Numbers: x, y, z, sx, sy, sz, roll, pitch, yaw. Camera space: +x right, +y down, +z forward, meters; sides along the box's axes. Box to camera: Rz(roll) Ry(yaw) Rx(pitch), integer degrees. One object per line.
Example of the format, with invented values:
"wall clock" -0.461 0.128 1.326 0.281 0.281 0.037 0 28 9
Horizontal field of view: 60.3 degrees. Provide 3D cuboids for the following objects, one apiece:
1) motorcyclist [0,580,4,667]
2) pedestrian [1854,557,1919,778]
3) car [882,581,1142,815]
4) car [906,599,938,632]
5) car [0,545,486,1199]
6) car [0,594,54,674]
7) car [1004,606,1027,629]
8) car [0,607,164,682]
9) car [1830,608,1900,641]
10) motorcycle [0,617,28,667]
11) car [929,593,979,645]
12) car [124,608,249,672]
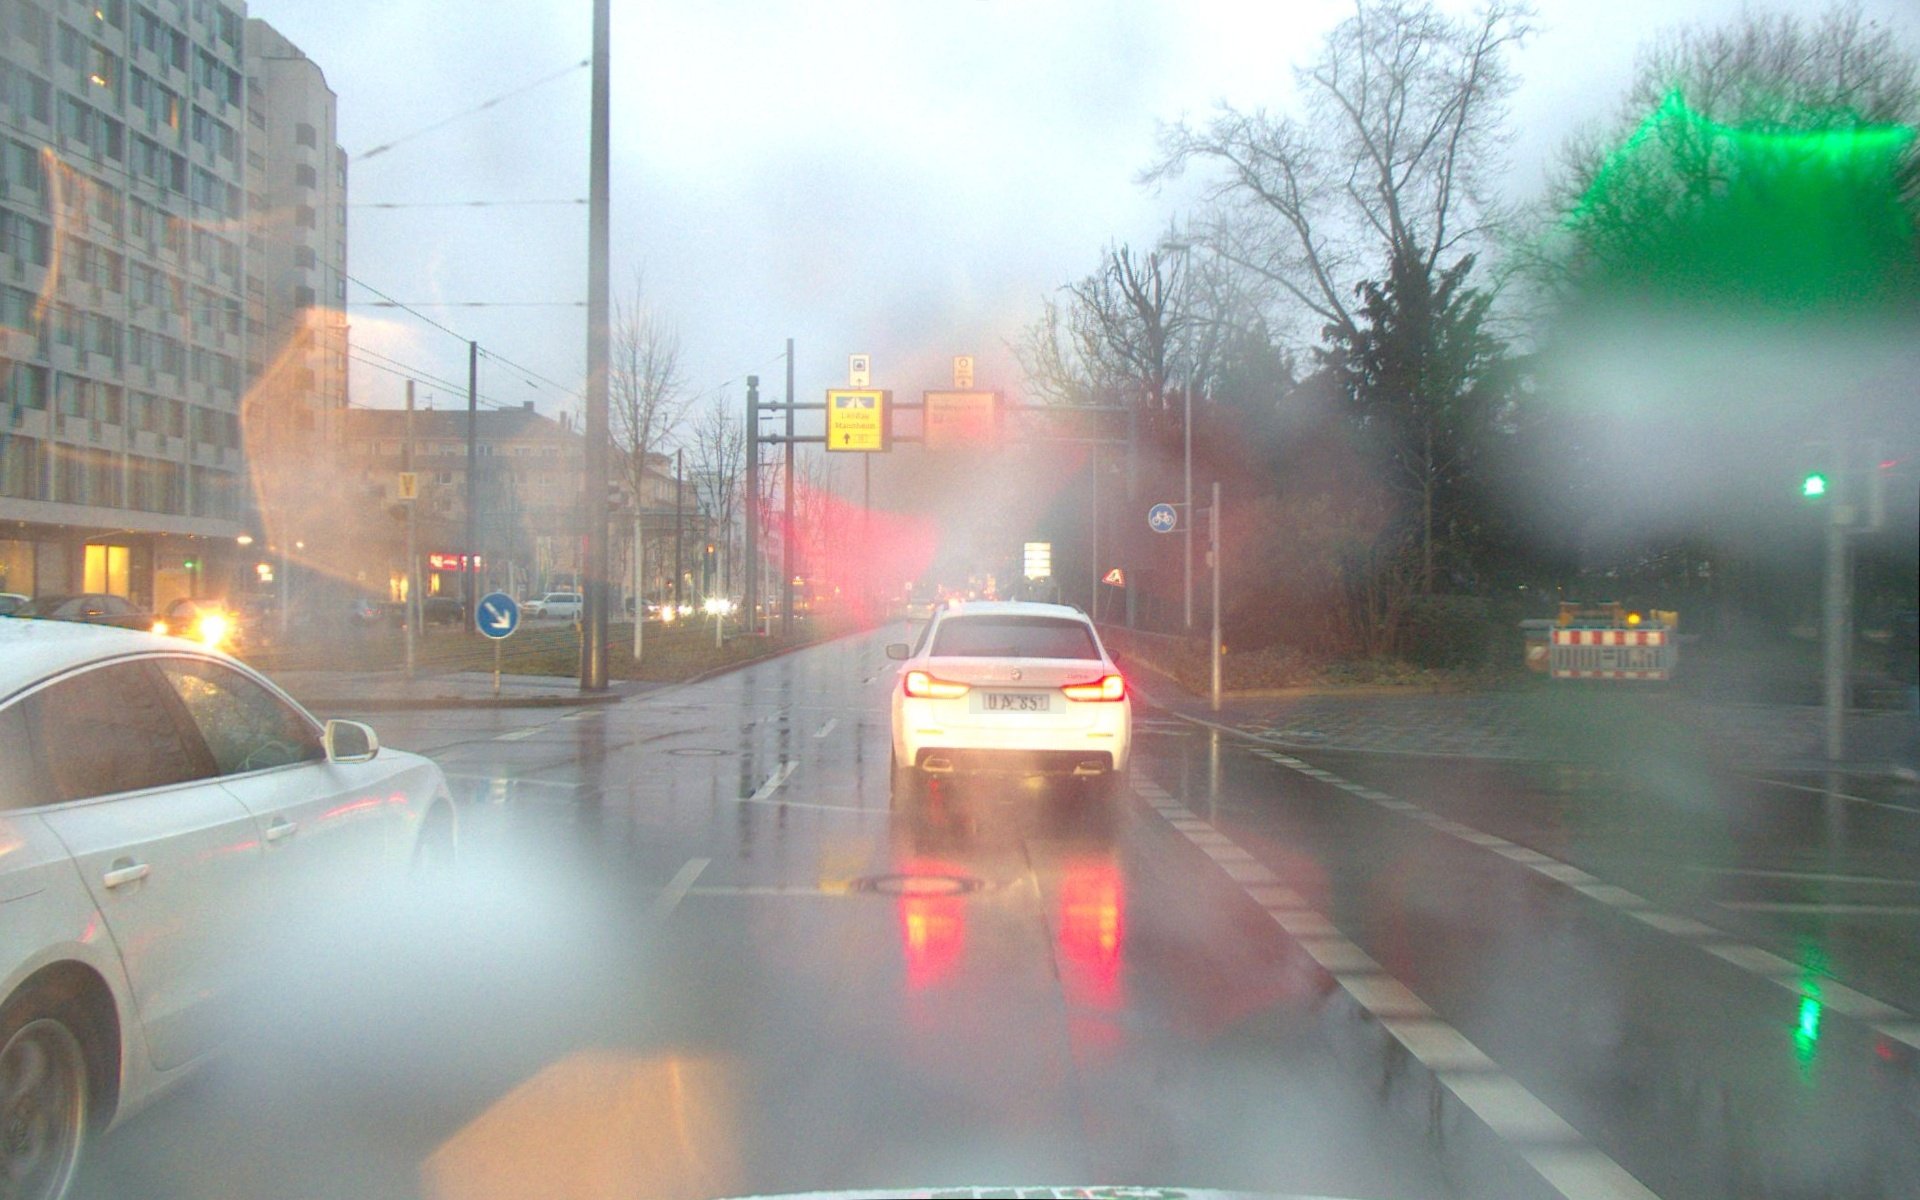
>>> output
"motorcyclist" -21.521 0.511 35.905 0.853 1.918 1.033 2 -1 0
"pedestrian" 8.522 0.592 14.731 0.704 1.912 0.670 2 -1 -25
"car" 0.268 0.689 13.610 1.725 1.580 4.248 2 0 -3
"car" -2.453 0.986 108.419 1.953 2.049 4.000 2 0 0
"car" -2.748 0.622 4.542 1.724 1.495 4.250 2 0 -2
"car" -23.066 0.768 38.093 1.843 1.821 4.598 2 0 -1
"car" 5.054 1.561 150.820 1.953 2.049 4.000 2 0 0
"car" -19.791 0.919 36.489 1.953 1.487 5.094 2 0 0
"car" 59.615 1.620 109.030 3.908 2.049 1.998 1 0 25
"motorcycle" -21.534 0.927 35.951 0.853 1.075 2.966 2 0 0
"car" -0.252 0.794 69.059 1.953 2.049 4.000 2 0 0
"car" -20.143 1.011 43.289 1.960 1.487 5.076 2 0 -14
